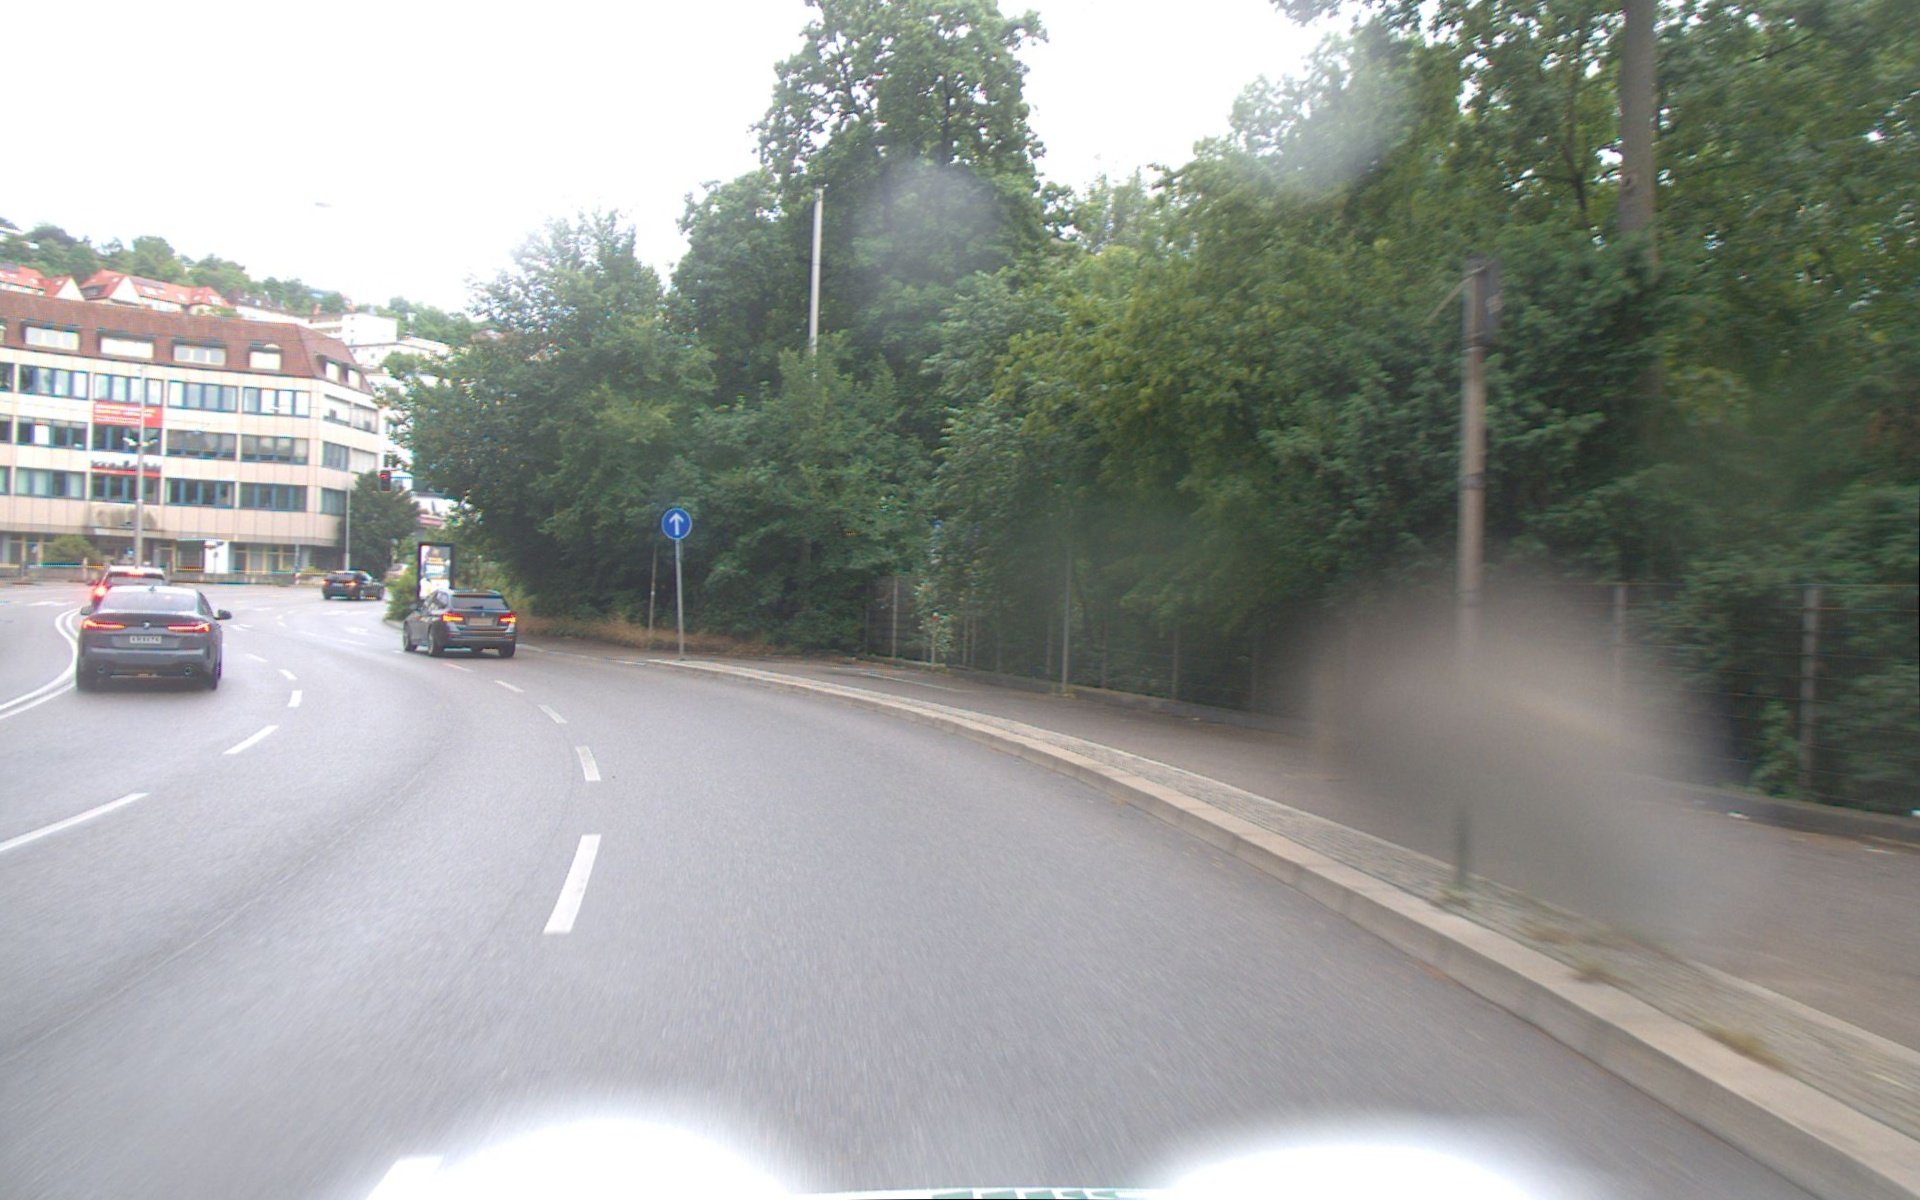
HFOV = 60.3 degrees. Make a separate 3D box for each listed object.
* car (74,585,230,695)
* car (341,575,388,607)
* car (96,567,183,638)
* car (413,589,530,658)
[{"bbox_3d":[-11.729,0.542,24.245,1.766,1.451,4.353,1,0,-23],"label":"car"},{"bbox_3d":[-29.262,-0.458,81.342,1.762,1.450,4.594,2,0,-15],"label":"car"},{"bbox_3d":[-20.859,0.075,42.166,1.876,1.723,3.968,1,-1,-25],"label":"car"},{"bbox_3d":[-10.926,0.500,36.824,1.933,1.451,4.093,1,0,-25],"label":"car"}]
